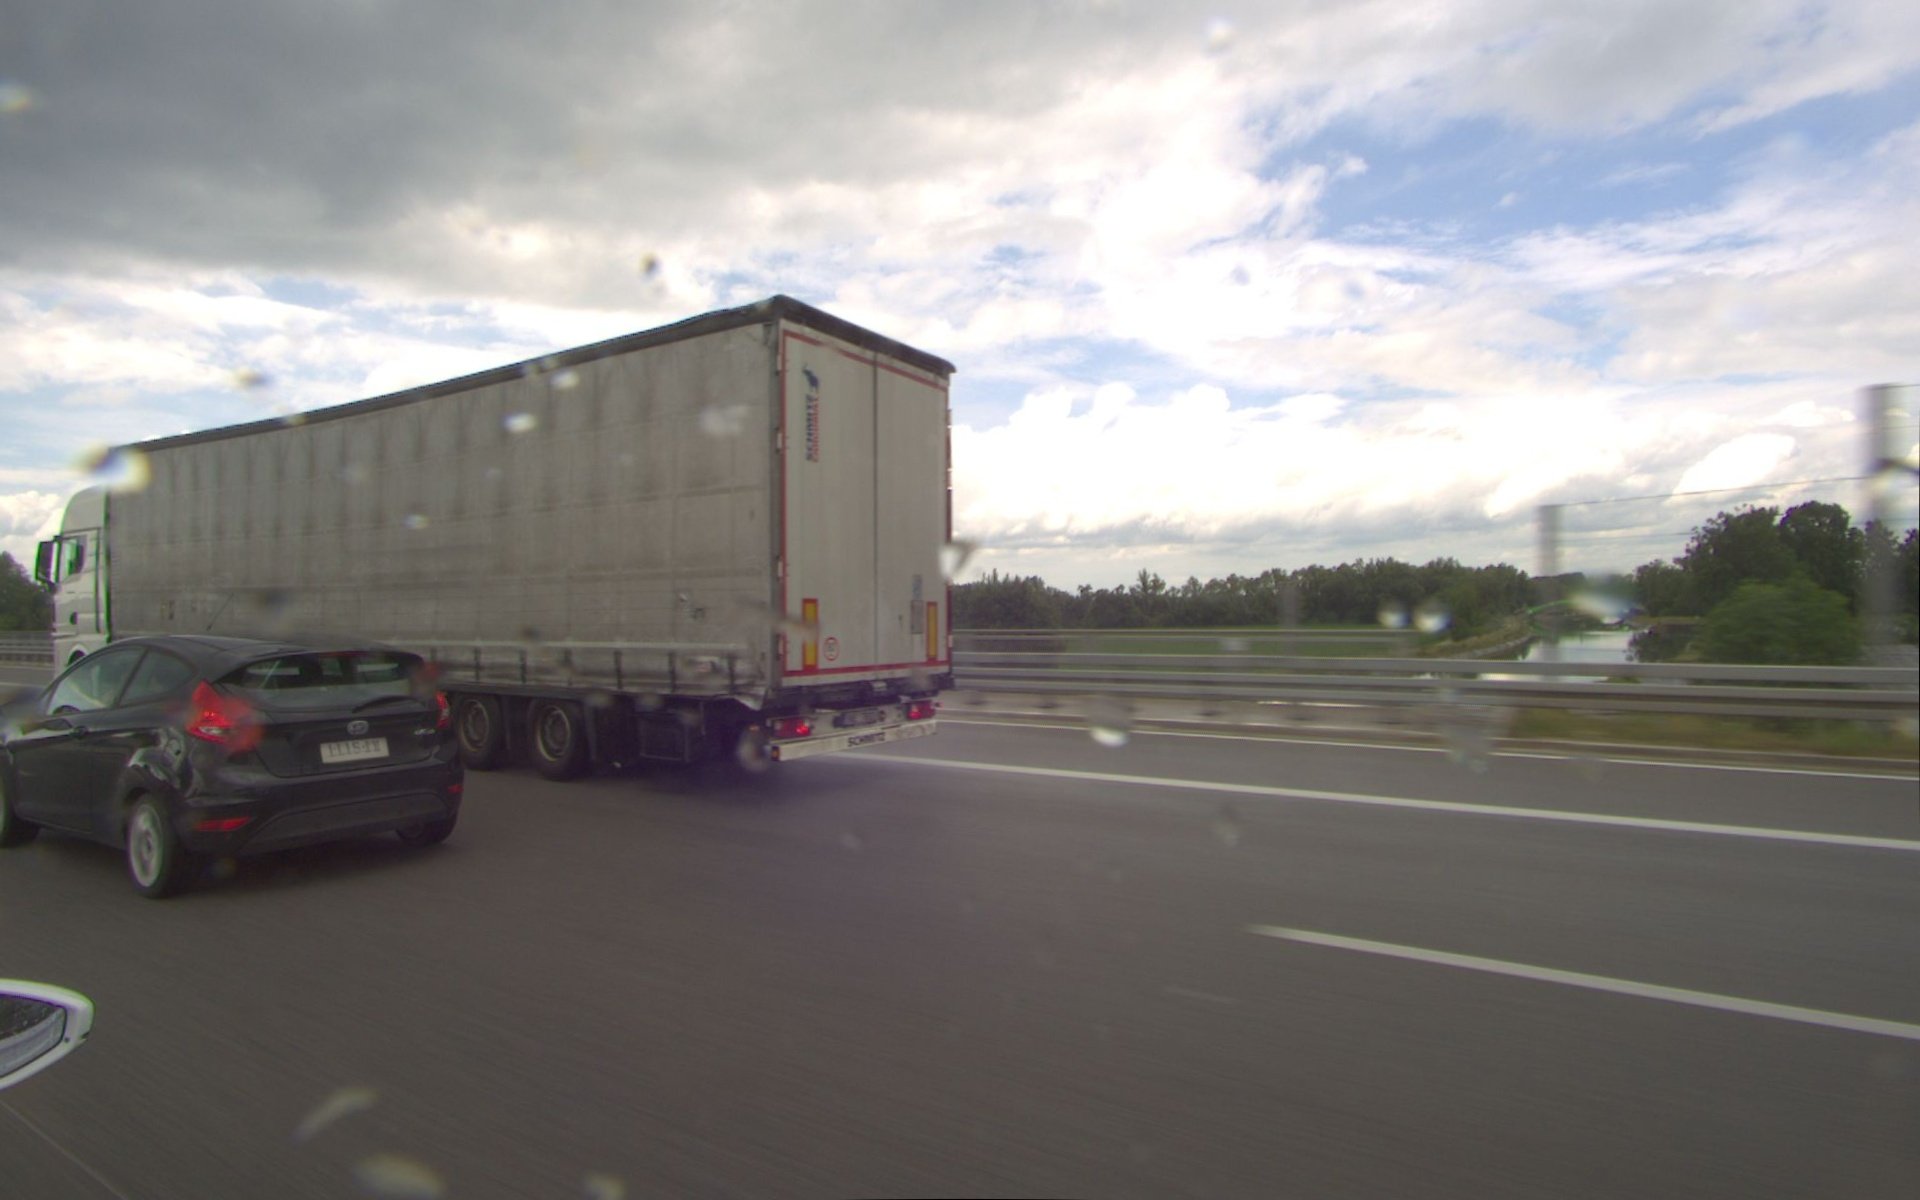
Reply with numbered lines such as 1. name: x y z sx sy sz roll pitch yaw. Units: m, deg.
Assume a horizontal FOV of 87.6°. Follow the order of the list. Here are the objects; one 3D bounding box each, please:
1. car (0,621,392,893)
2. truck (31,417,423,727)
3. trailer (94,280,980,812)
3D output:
1. car: -5.500 0.889 6.925 3.118 1.460 1.444 0 0 32
2. truck: -11.916 -0.340 16.146 6.494 4.073 2.956 0 0 32
3. trailer: -6.448 -0.375 12.668 13.915 4.072 2.956 0 0 32
